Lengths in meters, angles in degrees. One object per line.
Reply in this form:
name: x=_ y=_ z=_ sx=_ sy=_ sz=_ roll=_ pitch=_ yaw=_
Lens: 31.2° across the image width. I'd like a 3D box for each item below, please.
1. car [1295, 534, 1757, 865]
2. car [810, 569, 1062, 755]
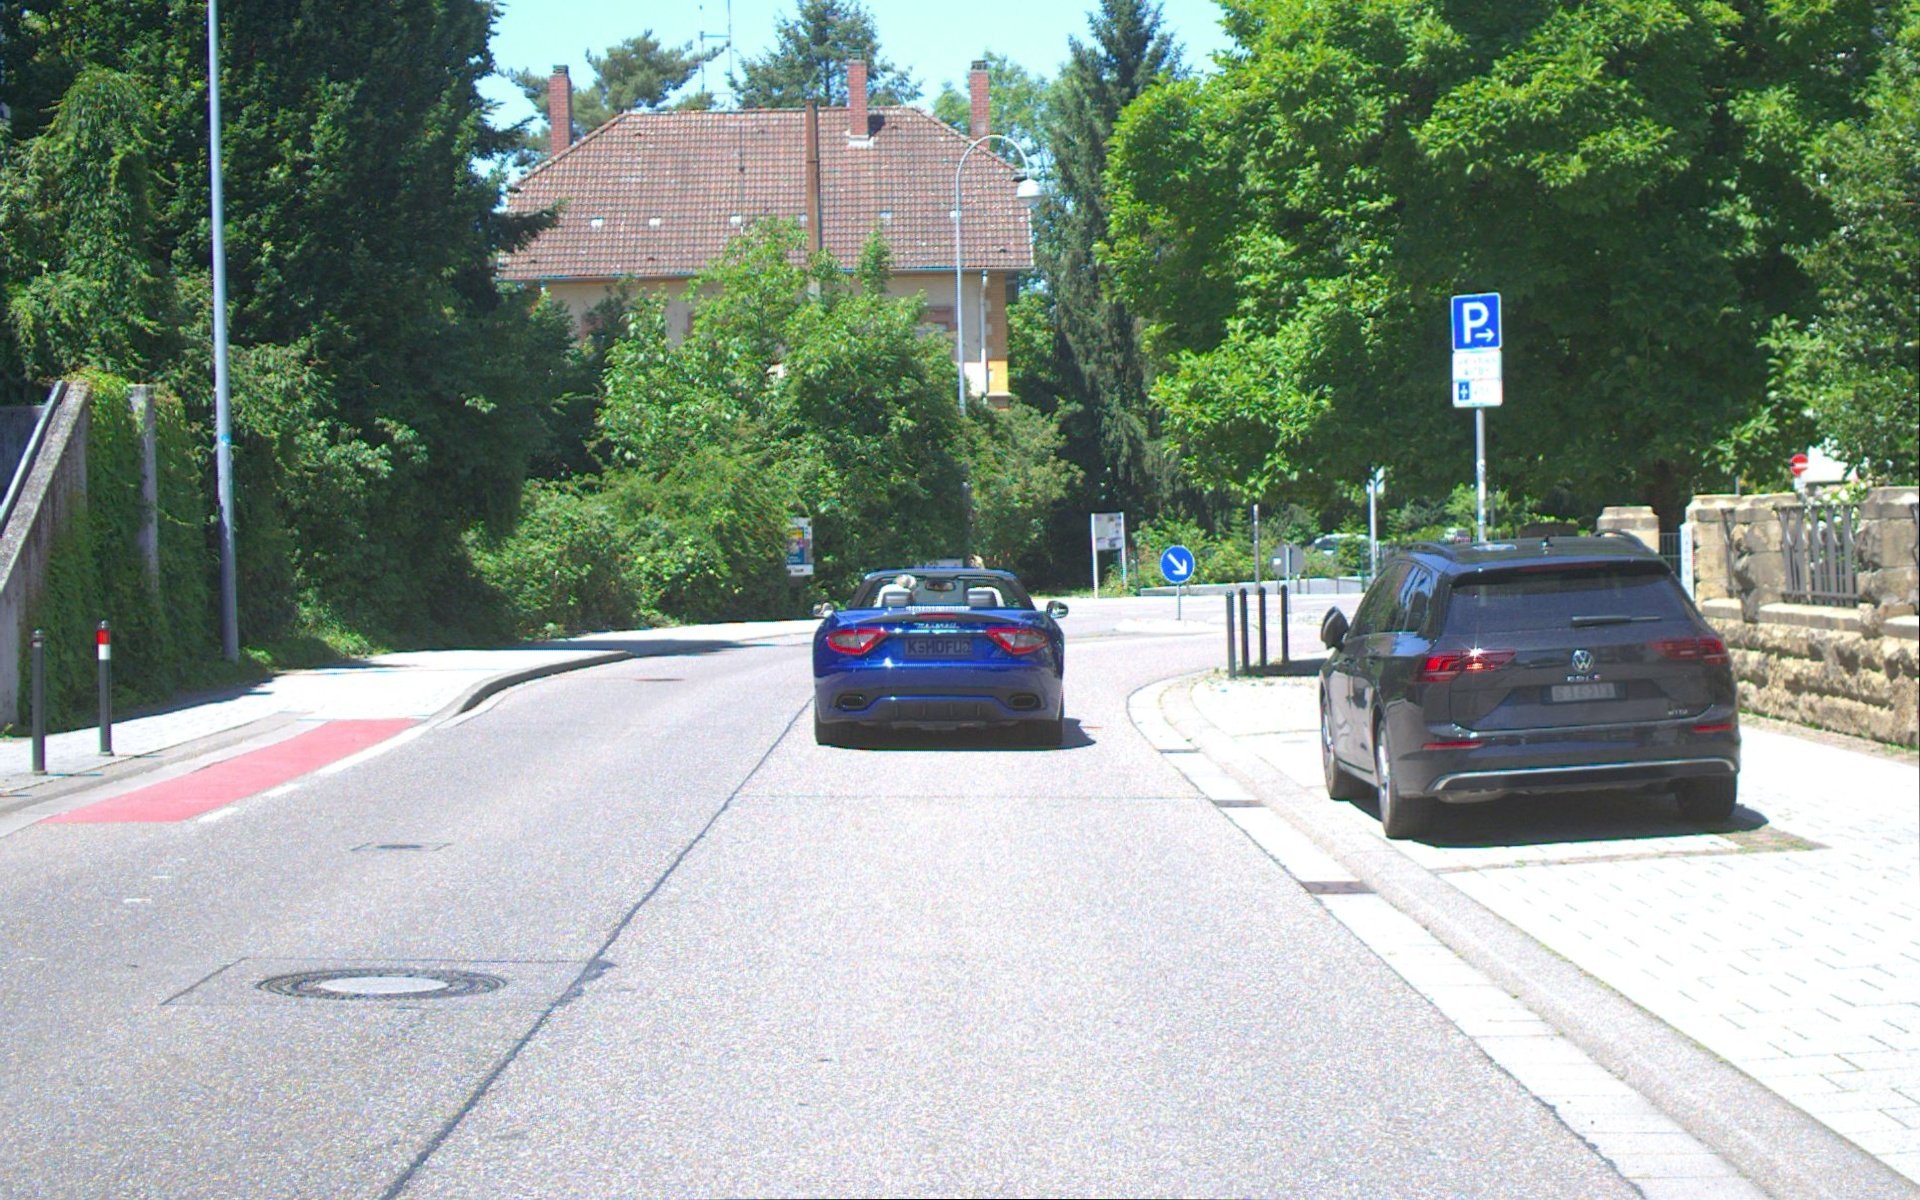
car: x=2.872 y=0.427 z=18.346 sx=1.631 sy=1.441 sz=4.398 roll=-4 pitch=1 yaw=0
car: x=-0.184 y=0.427 z=27.323 sx=1.826 sy=1.332 sz=4.700 roll=0 pitch=1 yaw=0
